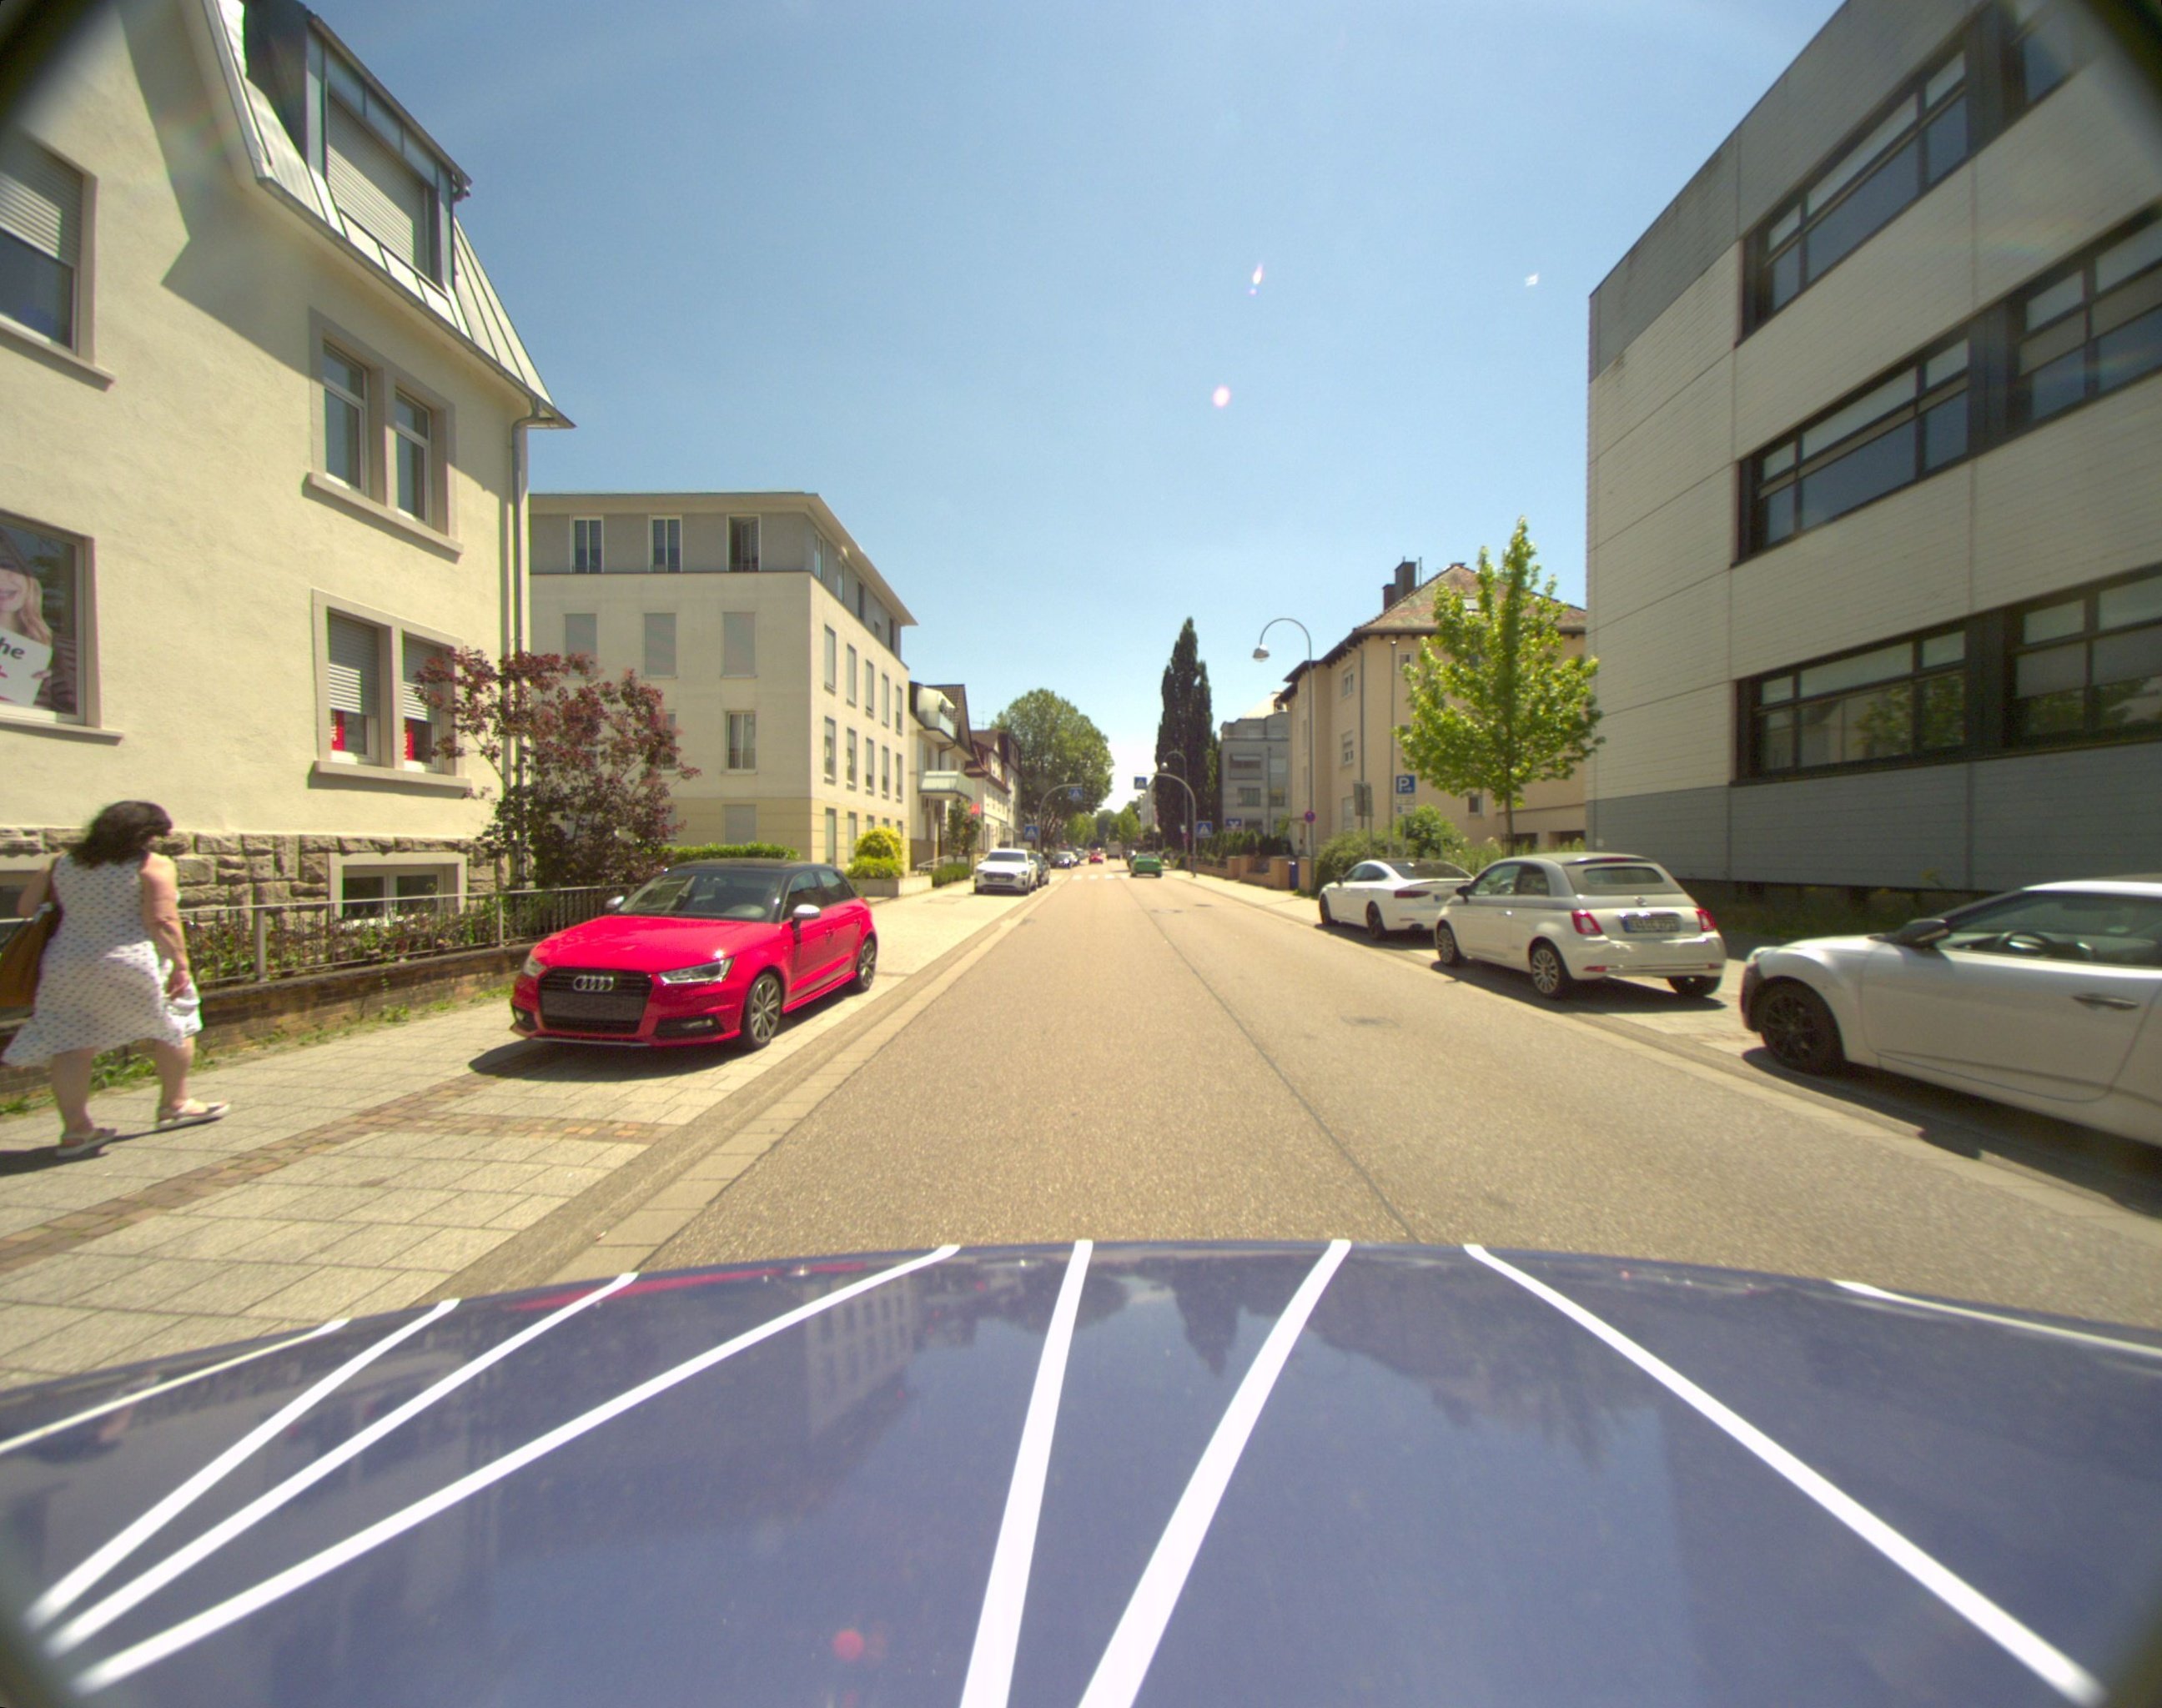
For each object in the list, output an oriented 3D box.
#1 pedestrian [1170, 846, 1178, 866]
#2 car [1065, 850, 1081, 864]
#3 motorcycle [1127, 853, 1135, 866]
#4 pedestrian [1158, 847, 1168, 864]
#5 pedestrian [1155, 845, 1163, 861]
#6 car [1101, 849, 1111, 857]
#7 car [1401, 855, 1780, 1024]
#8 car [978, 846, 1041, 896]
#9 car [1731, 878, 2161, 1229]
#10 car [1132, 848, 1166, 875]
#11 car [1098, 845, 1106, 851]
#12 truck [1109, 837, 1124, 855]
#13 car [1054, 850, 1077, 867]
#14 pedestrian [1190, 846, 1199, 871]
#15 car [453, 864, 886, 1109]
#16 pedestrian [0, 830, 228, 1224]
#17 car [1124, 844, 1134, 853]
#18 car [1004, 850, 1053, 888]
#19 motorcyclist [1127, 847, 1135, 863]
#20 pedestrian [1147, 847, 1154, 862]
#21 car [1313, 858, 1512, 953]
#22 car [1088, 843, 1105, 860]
[{"bbox_3d":[7.612,0.165,62.205,0.538,1.675,0.708,-1,1,1],"label":"pedestrian"},{"bbox_3d":[-0.809,0.259,78.907,1.561,1.333,4.173,1,1,1],"label":"car"},{"bbox_3d":[4.423,0.495,66.895,0.700,1.101,1.790,0,1,5],"label":"motorcycle"},{"bbox_3d":[8.150,0.172,75.693,0.847,1.635,0.751,-3,1,3],"label":"pedestrian"},{"bbox_3d":[8.618,-0.125,83.629,0.750,1.760,0.951,-1,1,1],"label":"pedestrian"},{"bbox_3d":[5.176,-0.248,157.839,1.834,1.502,4.262,-1,0,1],"label":"car"},{"bbox_3d":[5.679,0.814,9.271,1.827,1.503,4.289,-1,1,2],"label":"car"},{"bbox_3d":[-2.583,0.571,28.318,1.709,1.656,4.580,2,1,2],"label":"car"},{"bbox_3d":[5.619,0.918,3.640,1.752,1.401,3.933,-2,0,3],"label":"car"},{"bbox_3d":[4.160,0.421,46.710,1.826,1.579,4.100,1,1,2],"label":"car"},{"bbox_3d":[5.309,-1.580,193.157,1.731,1.500,4.292,-1,2,0],"label":"car"},{"bbox_3d":[5.882,-1.276,126.517,2.425,2.966,6.259,0,0,4],"label":"truck"},{"bbox_3d":[-1.380,0.398,68.055,1.831,1.418,4.700,1,1,1],"label":"car"},{"bbox_3d":[7.600,0.280,50.955,0.538,1.675,0.708,-1,1,1],"label":"pedestrian"},{"bbox_3d":[-3.153,0.874,6.816,1.607,1.432,3.853,3,1,3],"label":"car"},{"bbox_3d":[-4.810,0.732,3.582,0.742,1.660,0.706,2,1,0],"label":"pedestrian"},{"bbox_3d":[9.115,-0.970,145.020,1.731,1.661,4.294,-1,1,1],"label":"car"},{"bbox_3d":[-2.320,0.611,34.410,1.709,1.547,4.748,1,0,2],"label":"car"},{"bbox_3d":[4.430,0.100,66.923,0.700,1.425,0.707,0,1,5],"label":"motorcyclist"},{"bbox_3d":[7.662,0.074,83.730,0.622,1.667,0.903,-2,1,1],"label":"pedestrian"},{"bbox_3d":[5.874,0.817,14.148,1.826,1.403,4.577,-1,1,2],"label":"car"},{"bbox_3d":[1.875,-0.311,92.489,2.000,1.880,4.294,-2,1,1],"label":"car"}]
